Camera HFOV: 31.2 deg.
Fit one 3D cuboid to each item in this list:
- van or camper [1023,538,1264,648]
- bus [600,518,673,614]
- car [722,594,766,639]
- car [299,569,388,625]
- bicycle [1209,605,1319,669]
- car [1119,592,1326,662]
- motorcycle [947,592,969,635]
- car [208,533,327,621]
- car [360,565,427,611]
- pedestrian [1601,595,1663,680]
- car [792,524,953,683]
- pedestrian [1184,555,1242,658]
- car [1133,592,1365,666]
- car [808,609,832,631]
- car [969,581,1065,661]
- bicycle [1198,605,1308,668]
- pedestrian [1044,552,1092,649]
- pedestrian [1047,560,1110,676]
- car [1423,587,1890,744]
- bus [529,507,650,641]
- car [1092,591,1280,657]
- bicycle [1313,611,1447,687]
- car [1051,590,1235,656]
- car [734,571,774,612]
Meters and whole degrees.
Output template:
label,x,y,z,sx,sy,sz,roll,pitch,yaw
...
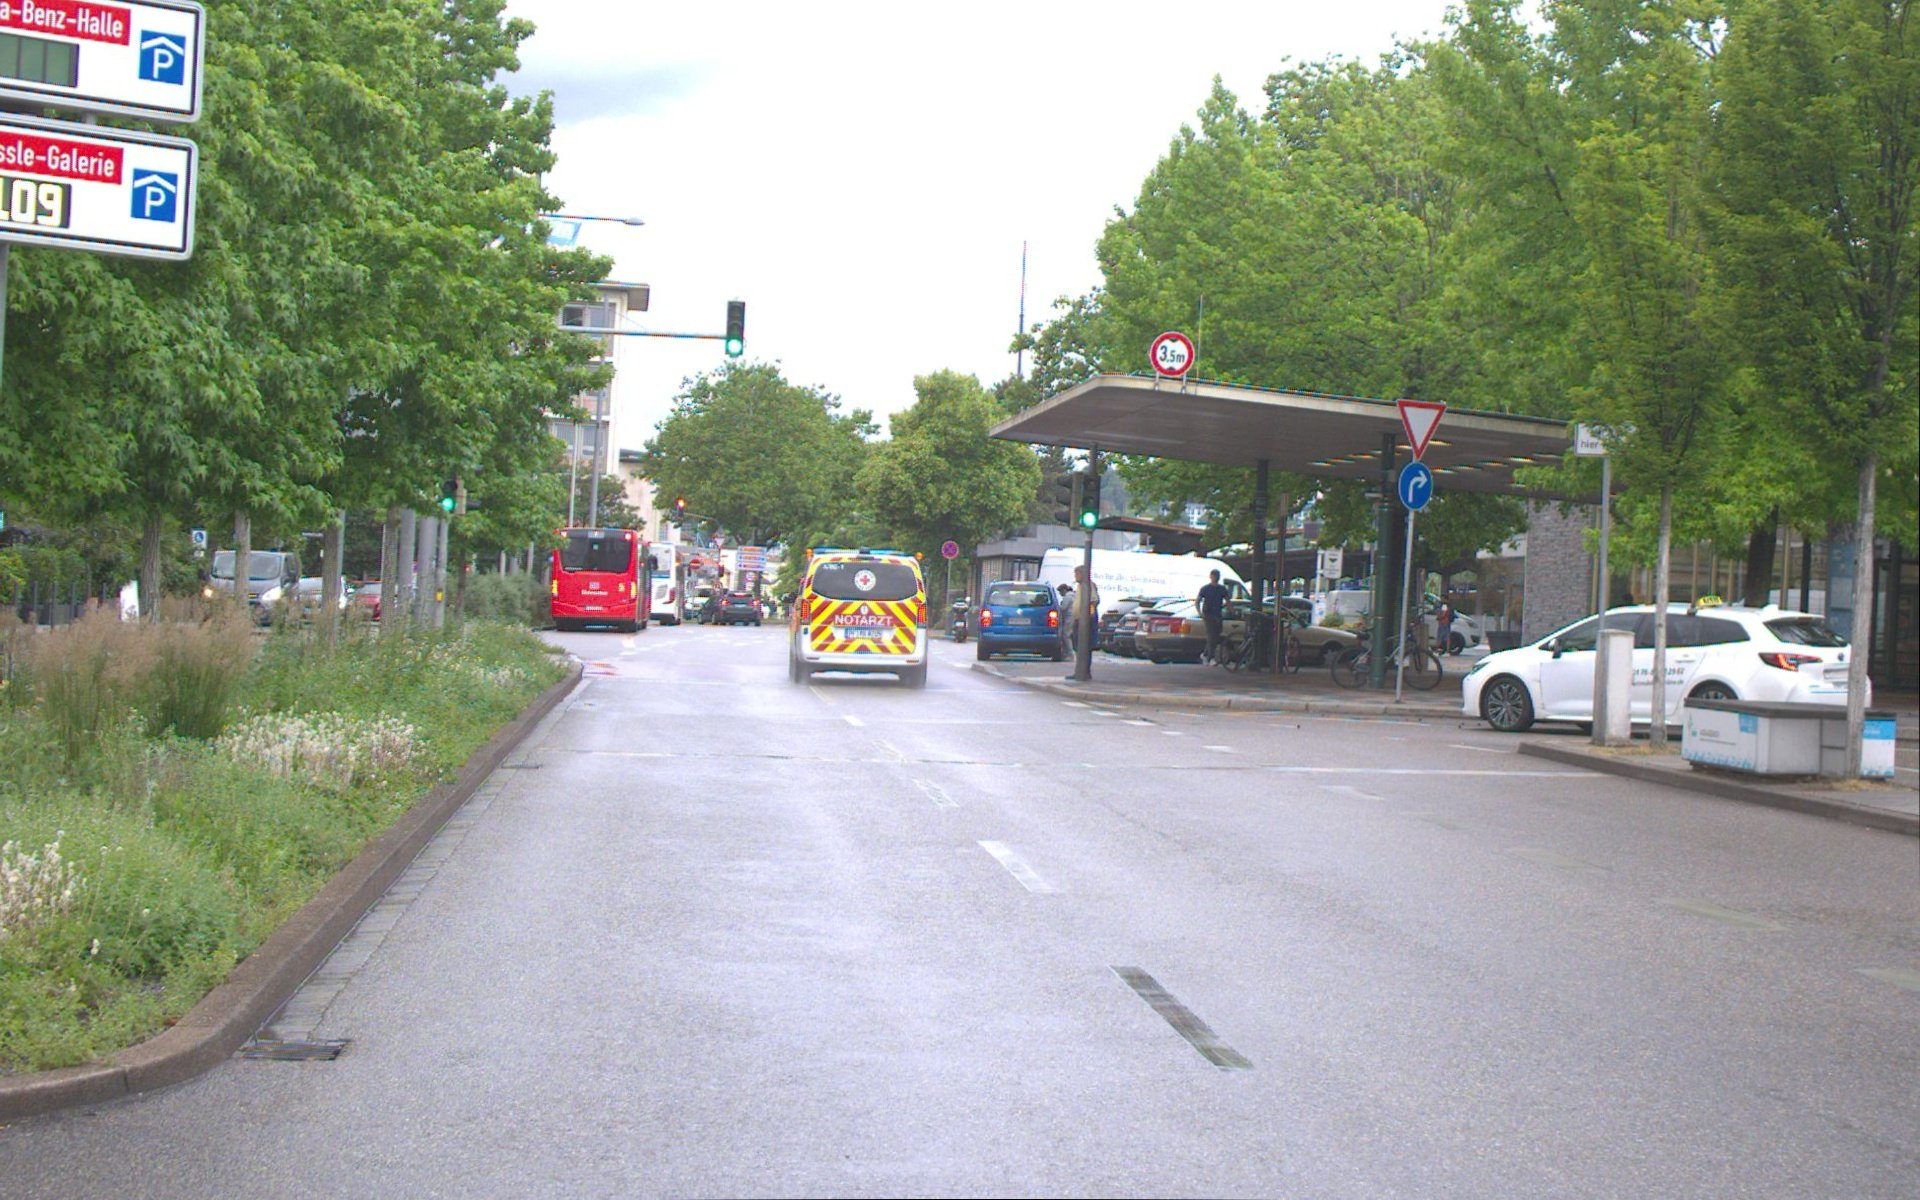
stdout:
label,x,y,z,sx,sy,sz,roll,pitch,yaw
van or camper,4.750,-0.168,88.547,5.946,2.753,2.199,0,0,-31
bus,-13.091,-1.331,138.715,2.805,3.734,10.447,0,0,-6
car,-9.924,0.738,158.012,1.993,2.007,4.000,0,0,-4
car,-17.586,-0.081,98.268,1.993,1.538,4.633,0,0,-4
bicycle,5.062,0.620,57.246,1.827,1.052,0.420,0,0,-22
car,5.488,0.568,71.760,3.987,1.354,1.864,2,-1,-34
motorcycle,-0.065,0.404,105.159,0.595,1.284,1.953,1,0,2
car,-16.276,-0.525,81.006,1.993,2.007,5.001,0,0,-3
car,-18.206,-0.386,110.573,1.747,1.425,3.953,0,0,-4
pedestrian,12.398,0.681,63.417,0.865,1.553,0.814,0,0,-11
car,-1.241,0.046,46.259,1.993,2.007,5.062,0,0,-3
pedestrian,4.592,0.120,62.483,0.856,1.829,1.190,1,-1,-4
car,5.730,0.575,68.101,4.184,1.321,1.840,2,-1,-24
car,-10.021,1.446,246.378,1.594,1.555,3.650,0,0,-4
car,1.151,0.434,70.929,1.858,1.564,4.000,2,-1,0
bicycle,4.918,0.612,57.686,1.827,1.052,0.420,0,0,-22
pedestrian,2.241,0.009,71.397,0.831,2.007,0.889,0,0,-8
pedestrian,1.813,0.276,52.572,0.746,1.741,0.836,1,-1,-12
car,7.446,0.675,37.115,1.759,1.540,4.774,2,0,-43
bus,-11.579,-0.771,107.652,3.544,3.966,11.173,0,0,-6
car,5.284,0.563,80.313,3.986,1.438,1.865,2,-1,-30
bicycle,5.954,0.692,48.785,1.827,1.052,0.420,0,0,-4
car,4.392,0.553,82.459,3.986,1.438,1.865,2,-1,-30
car,-10.414,-0.438,173.552,1.993,2.007,4.000,0,0,-4
